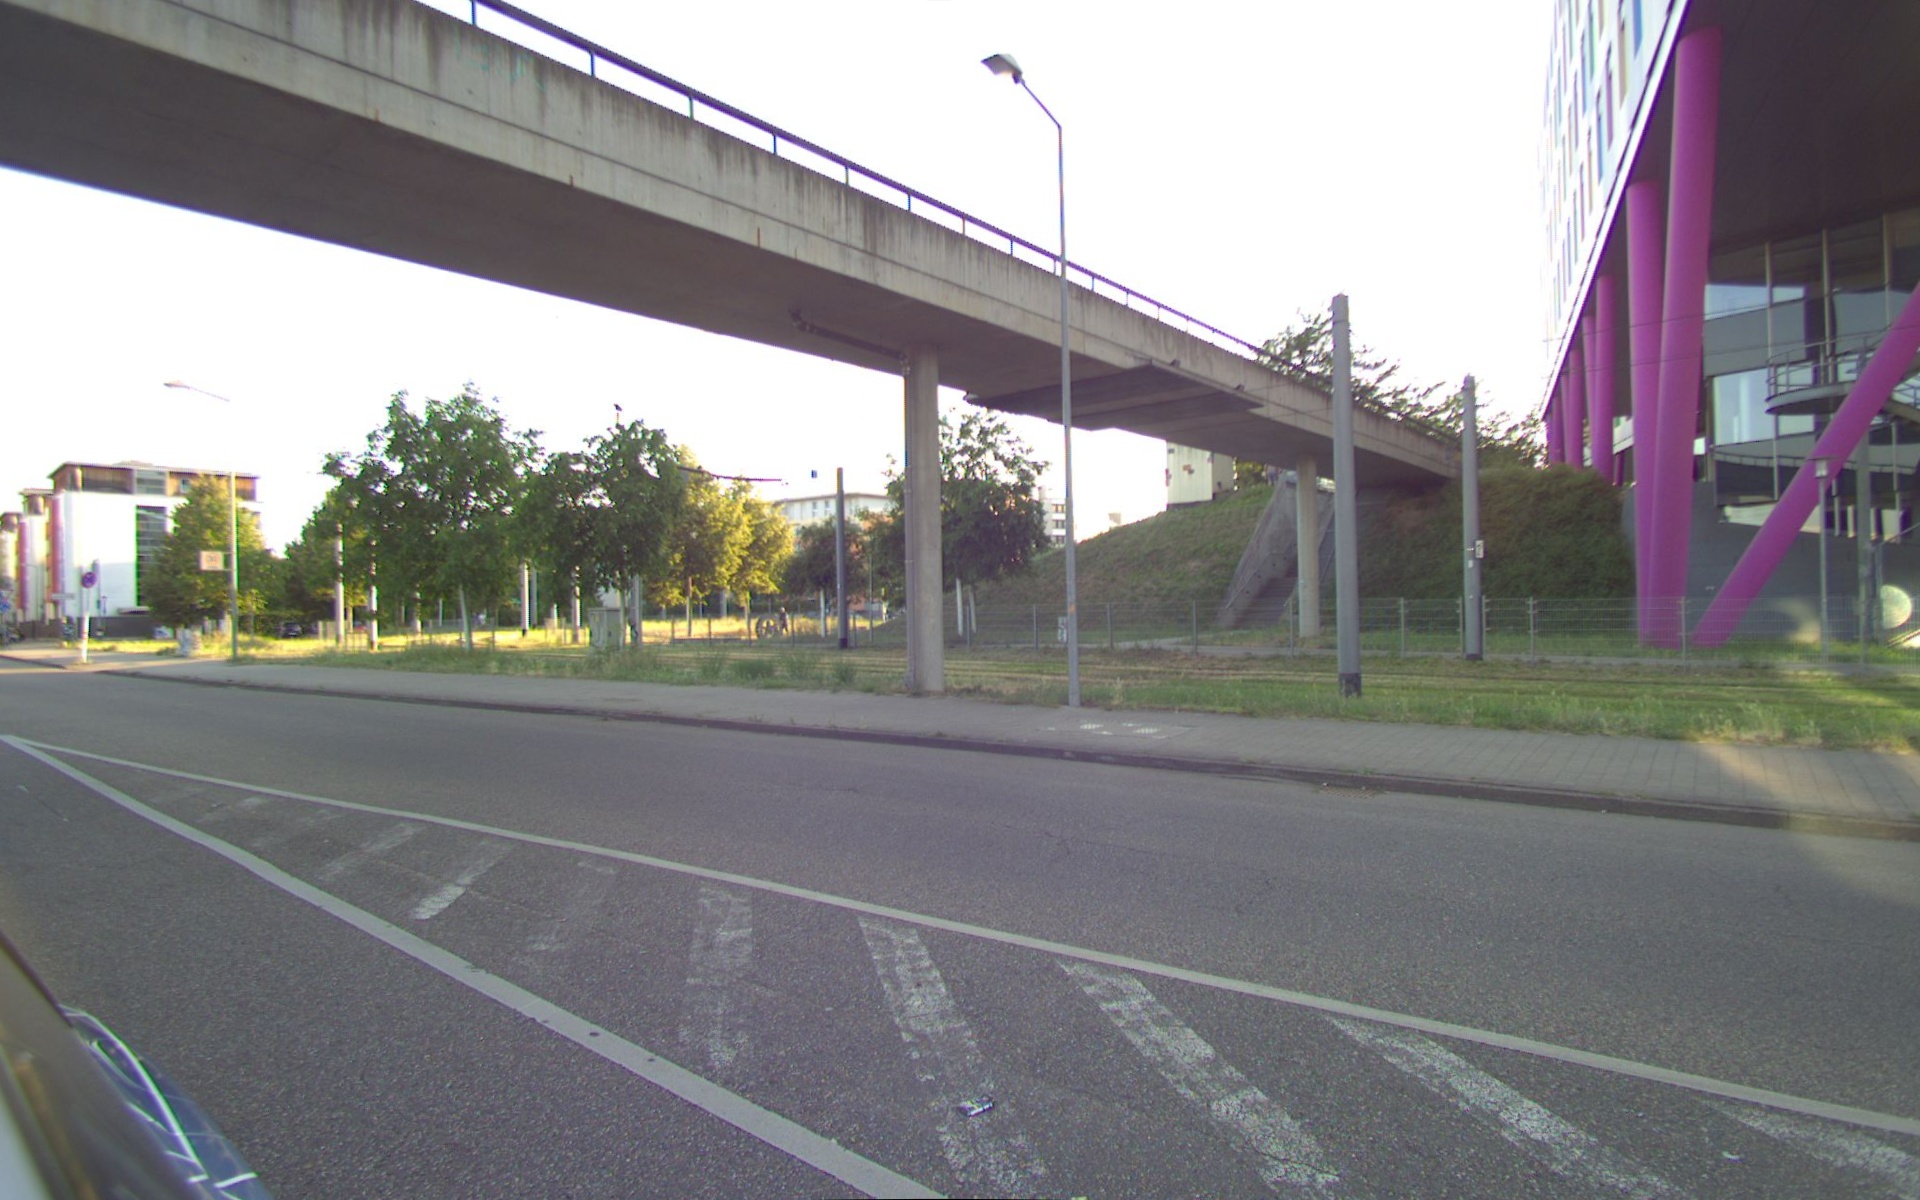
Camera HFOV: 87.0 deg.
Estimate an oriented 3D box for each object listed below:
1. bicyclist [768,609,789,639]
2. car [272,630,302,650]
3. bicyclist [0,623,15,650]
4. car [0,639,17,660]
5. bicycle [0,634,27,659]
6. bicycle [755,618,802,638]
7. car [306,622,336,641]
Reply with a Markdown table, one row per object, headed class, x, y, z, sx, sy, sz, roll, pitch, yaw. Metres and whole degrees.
| class | x | y | z | sx | sy | sz | roll | pitch | yaw |
| --- | --- | --- | --- | --- | --- | --- | --- | --- | --- |
| bicyclist | -9.965 | 1.314 | 55.612 | 0.716 | 1.644 | 0.898 | -2 | -1 | 39 |
| car | -56.930 | 3.378 | 85.607 | 1.913 | 1.541 | 4.009 | -1 | -1 | -36 |
| bicyclist | -61.702 | 2.365 | 65.339 | 0.917 | 1.676 | 0.849 | -2 | -1 | 33 |
| car | -80.598 | 4.133 | 83.498 | 2.000 | 1.741 | 3.944 | -2 | -1 | 42 |
| bicycle | -61.339 | 2.988 | 65.239 | 3.533 | 1.581 | 1.007 | -2 | -1 | 34 |
| bicycle | -9.938 | 1.549 | 55.518 | 0.654 | 1.016 | 2.808 | -2 | -1 | 37 |
| car | -55.040 | 2.727 | 87.104 | 1.913 | 1.541 | 4.009 | -1 | -1 | -36 |
